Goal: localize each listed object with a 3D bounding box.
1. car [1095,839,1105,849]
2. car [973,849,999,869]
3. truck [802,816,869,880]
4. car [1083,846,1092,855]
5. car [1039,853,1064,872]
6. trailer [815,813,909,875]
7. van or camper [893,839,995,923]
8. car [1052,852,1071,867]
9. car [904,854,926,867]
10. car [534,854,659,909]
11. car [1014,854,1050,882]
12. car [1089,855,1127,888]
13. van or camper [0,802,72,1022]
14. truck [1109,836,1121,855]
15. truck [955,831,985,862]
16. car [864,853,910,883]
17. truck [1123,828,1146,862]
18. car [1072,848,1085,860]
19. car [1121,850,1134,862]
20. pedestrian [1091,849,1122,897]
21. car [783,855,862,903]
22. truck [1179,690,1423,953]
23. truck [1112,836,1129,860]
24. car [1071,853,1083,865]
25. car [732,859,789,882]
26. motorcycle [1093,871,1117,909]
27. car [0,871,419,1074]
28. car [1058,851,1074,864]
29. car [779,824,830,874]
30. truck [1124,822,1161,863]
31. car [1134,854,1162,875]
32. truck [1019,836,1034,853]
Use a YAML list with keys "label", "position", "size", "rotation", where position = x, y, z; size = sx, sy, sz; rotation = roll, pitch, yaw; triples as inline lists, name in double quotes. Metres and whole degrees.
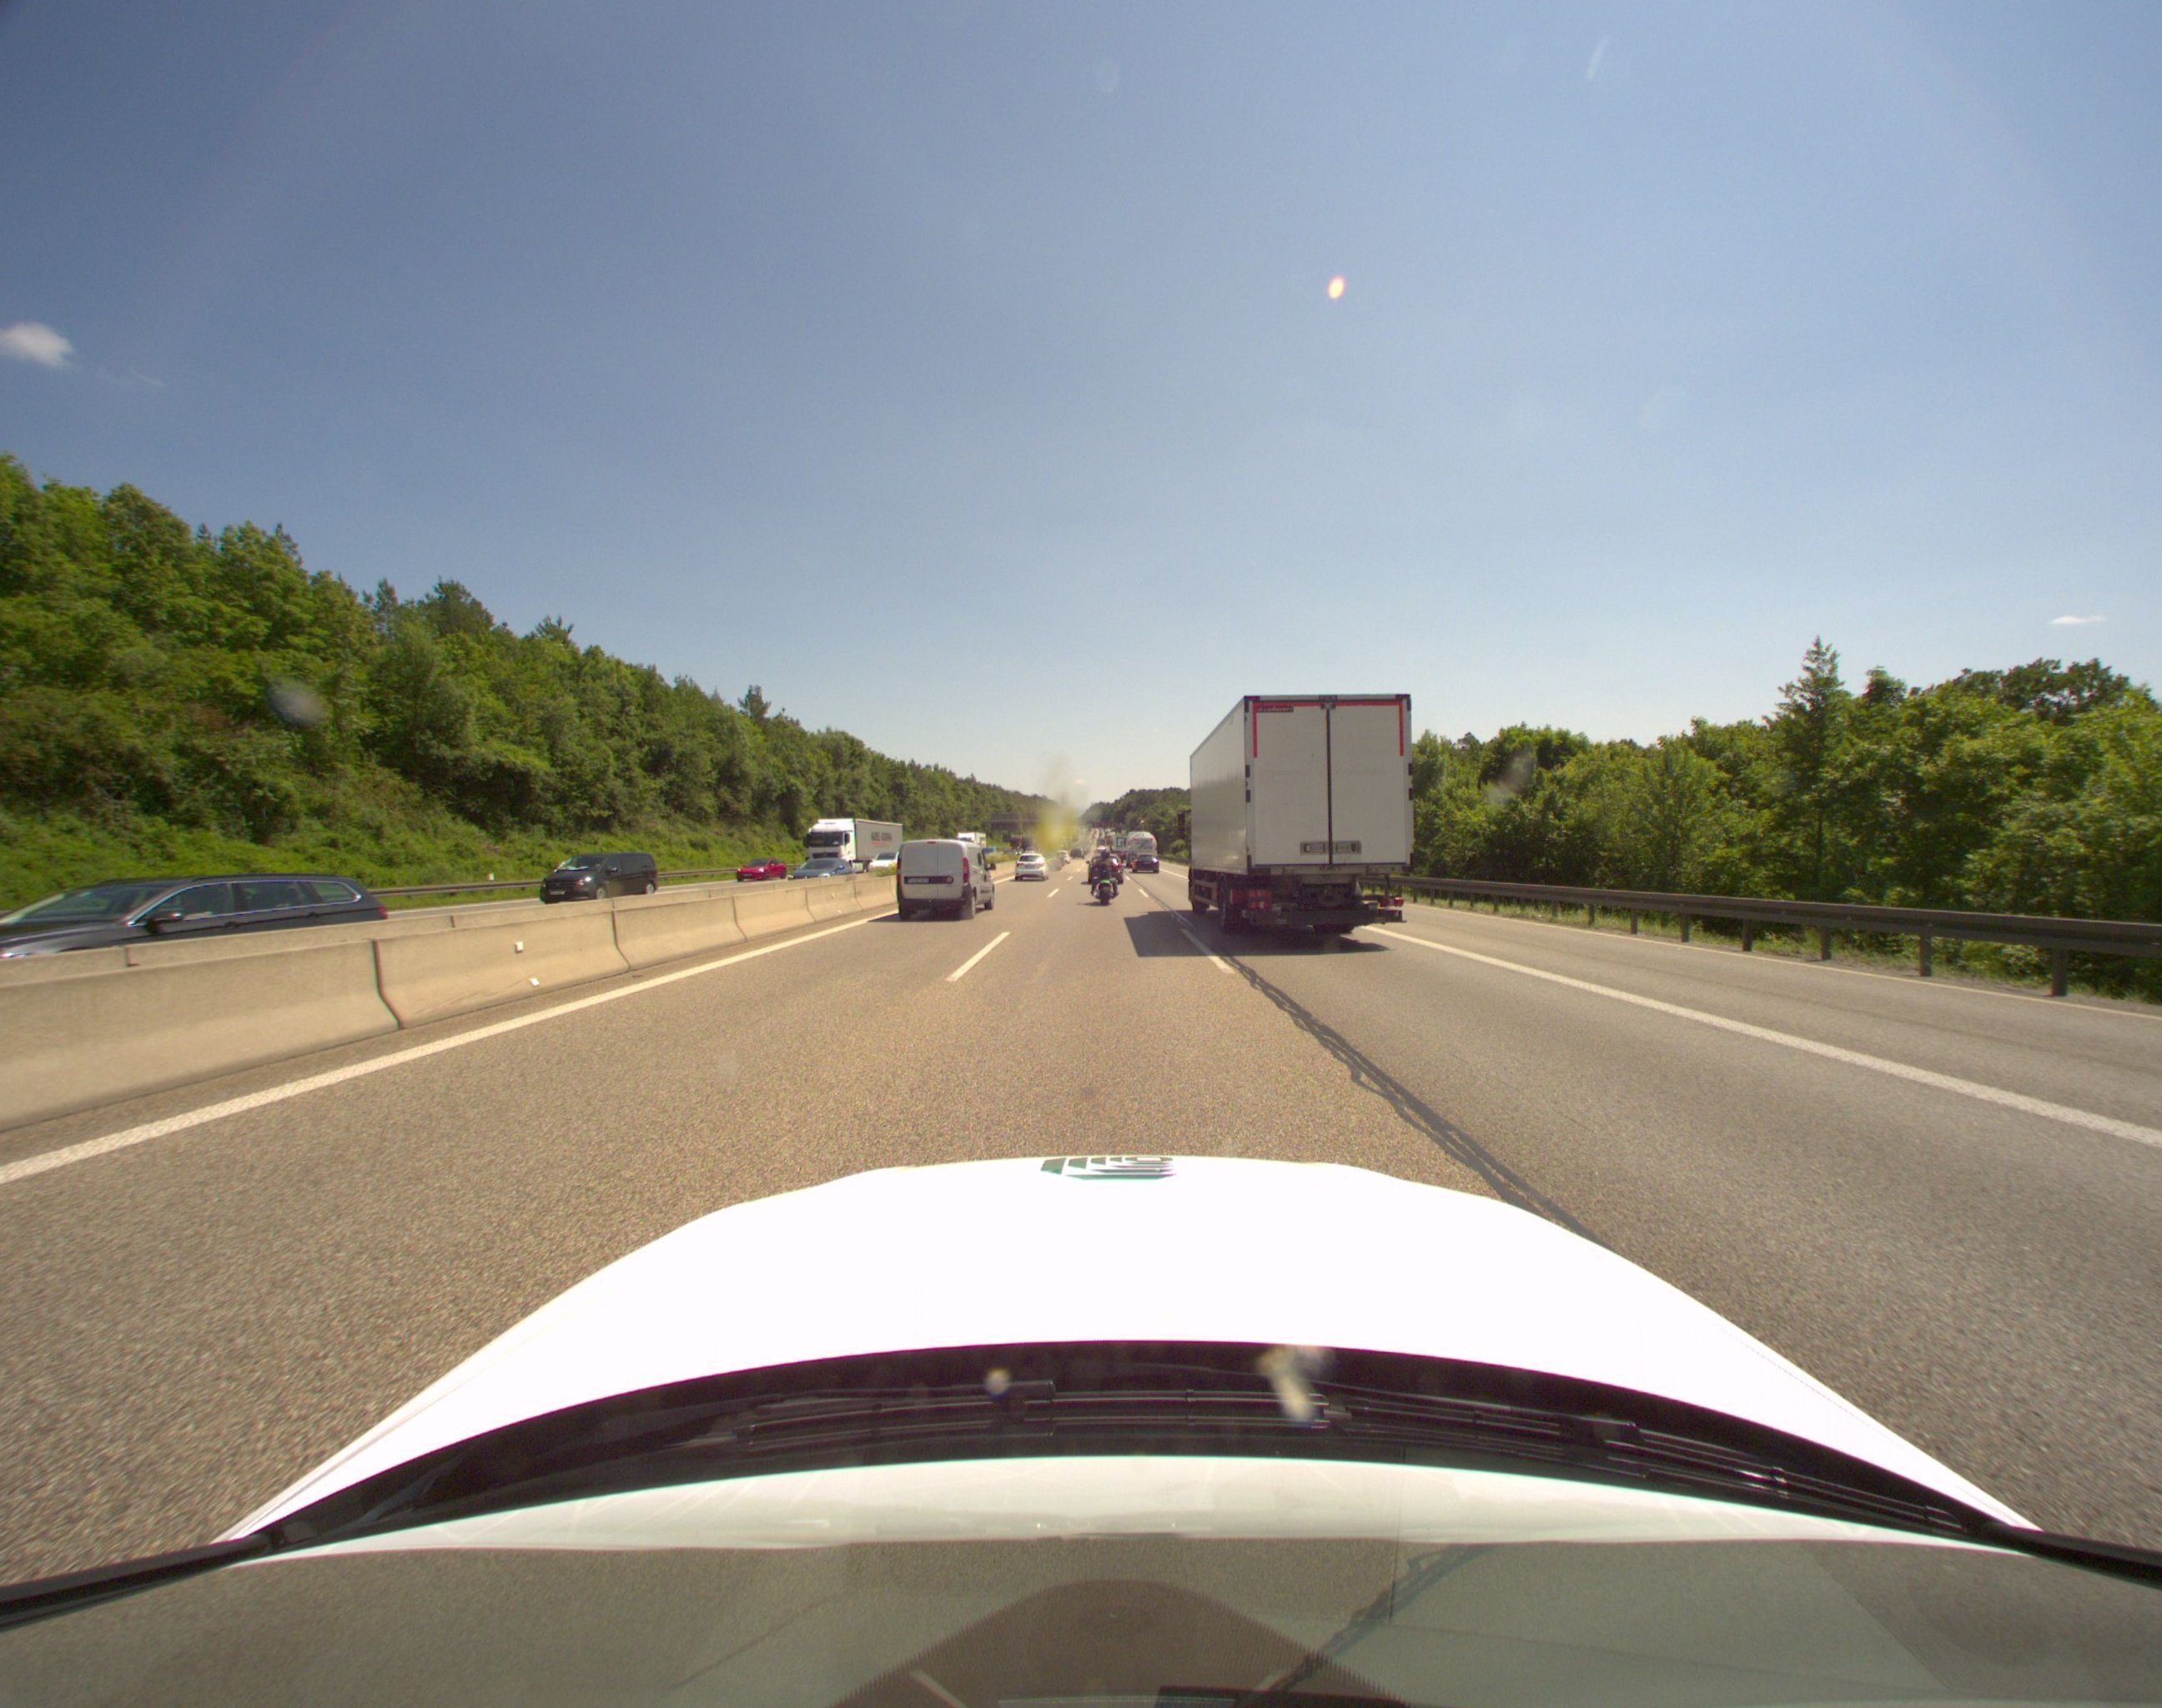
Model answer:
- label: "car"
  position: [5.250, -2.685, 223.626]
  size: [2.495, 2.587, 5.018]
  rotation: [0, 0, 1]
- label: "car"
  position: [-9.630, 0.504, 82.849]
  size: [1.905, 1.847, 5.037]
  rotation: [-2, -1, 1]
- label: "truck"
  position: [-17.079, -0.390, 57.076]
  size: [2.830, 4.214, 5.661]
  rotation: [-1, 0, 1]
- label: "car"
  position: [1.515, -0.730, 183.080]
  size: [1.922, 2.014, 4.002]
  rotation: [-2, -1, 2]
- label: "car"
  position: [-2.354, 0.688, 65.709]
  size: [1.693, 1.478, 4.001]
  rotation: [0, 0, 1]
- label: "trailer"
  position: [-16.796, -0.625, 63.935]
  size: [2.824, 4.165, 14.744]
  rotation: [-2, -1, 2]
- label: "van or camper"
  position: [-3.317, 0.619, 20.534]
  size: [1.790, 1.892, 4.160]
  rotation: [0, -1, 1]
- label: "car"
  position: [-1.915, 0.530, 81.106]
  size: [1.693, 1.478, 4.001]
  rotation: [0, 0, 1]
- label: "car"
  position: [-19.856, 0.743, 97.435]
  size: [1.660, 1.466, 4.191]
  rotation: [-1, 0, 1]
- label: "car"
  position: [-17.702, 0.932, 30.083]
  size: [1.729, 1.809, 4.862]
  rotation: [-1, 0, -1]
- label: "car"
  position: [-2.677, 0.728, 45.314]
  size: [1.693, 1.478, 4.001]
  rotation: [0, 0, 1]
- label: "car"
  position: [1.407, 0.823, 41.077]
  size: [1.525, 1.510, 4.007]
  rotation: [-2, 0, 6]
- label: "van or camper"
  position: [-14.828, 0.761, 7.564]
  size: [2.222, 2.761, 6.839]
  rotation: [-1, 0, 2]
- label: "truck"
  position: [9.082, -2.307, 220.792]
  size: [3.022, 5.139, 9.986]
  rotation: [1, 0, 1]
- label: "truck"
  position: [-15.891, -1.032, 117.158]
  size: [2.791, 4.165, 7.606]
  rotation: [-1, -1, 3]
- label: "car"
  position: [-13.559, 0.939, 57.097]
  size: [1.987, 1.949, 4.748]
  rotation: [-2, -1, 1]
- label: "truck"
  position: [5.688, -0.892, 87.677]
  size: [1.988, 3.522, 4.749]
  rotation: [-2, -1, -1]
- label: "car"
  position: [-0.349, 0.002, 125.286]
  size: [1.873, 1.859, 4.002]
  rotation: [0, 0, 2]
- label: "car"
  position: [6.329, 0.275, 111.239]
  size: [1.780, 1.555, 3.805]
  rotation: [0, 0, 1]
- label: "pedestrian"
  position: [0.771, 0.552, 24.361]
  size: [0.846, 1.362, 0.962]
  rotation: [-2, 0, 2]
- label: "car"
  position: [-10.553, 0.973, 33.517]
  size: [1.765, 1.772, 4.186]
  rotation: [-1, 0, 2]
- label: "truck"
  position: [3.929, -0.492, 17.260]
  size: [2.678, 3.876, 9.784]
  rotation: [-3, 0, 2]
- label: "truck"
  position: [7.626, -1.157, 158.877]
  size: [3.022, 4.542, 9.986]
  rotation: [1, 0, 1]
- label: "car"
  position: [-0.670, 0.926, 140.450]
  size: [1.986, 2.014, 4.002]
  rotation: [-2, -1, 2]
- label: "car"
  position: [-20.574, 1.021, 52.490]
  size: [1.756, 1.370, 4.503]
  rotation: [-1, 0, 2]
- label: "motorcycle"
  position: [0.731, 1.057, 24.378]
  size: [0.688, 1.015, 2.123]
  rotation: [1, 0, 3]
- label: "car"
  position: [-10.808, 1.167, 9.658]
  size: [1.940, 1.802, 4.695]
  rotation: [-2, -1, 2]
- label: "car"
  position: [-1.675, 0.364, 93.209]
  size: [1.693, 1.478, 4.001]
  rotation: [0, 0, 1]
- label: "car"
  position: [-22.445, -0.377, 66.347]
  size: [2.440, 3.873, 4.567]
  rotation: [-2, 0, 1]
- label: "truck"
  position: [5.867, -0.996, 78.709]
  size: [2.977, 3.671, 9.290]
  rotation: [-2, -1, 1]
- label: "car"
  position: [4.986, 0.748, 61.056]
  size: [1.822, 1.470, 4.001]
  rotation: [1, 0, 1]
- label: "truck"
  position: [-13.649, -2.375, 205.459]
  size: [2.895, 3.974, 7.771]
  rotation: [-2, -1, 1]
